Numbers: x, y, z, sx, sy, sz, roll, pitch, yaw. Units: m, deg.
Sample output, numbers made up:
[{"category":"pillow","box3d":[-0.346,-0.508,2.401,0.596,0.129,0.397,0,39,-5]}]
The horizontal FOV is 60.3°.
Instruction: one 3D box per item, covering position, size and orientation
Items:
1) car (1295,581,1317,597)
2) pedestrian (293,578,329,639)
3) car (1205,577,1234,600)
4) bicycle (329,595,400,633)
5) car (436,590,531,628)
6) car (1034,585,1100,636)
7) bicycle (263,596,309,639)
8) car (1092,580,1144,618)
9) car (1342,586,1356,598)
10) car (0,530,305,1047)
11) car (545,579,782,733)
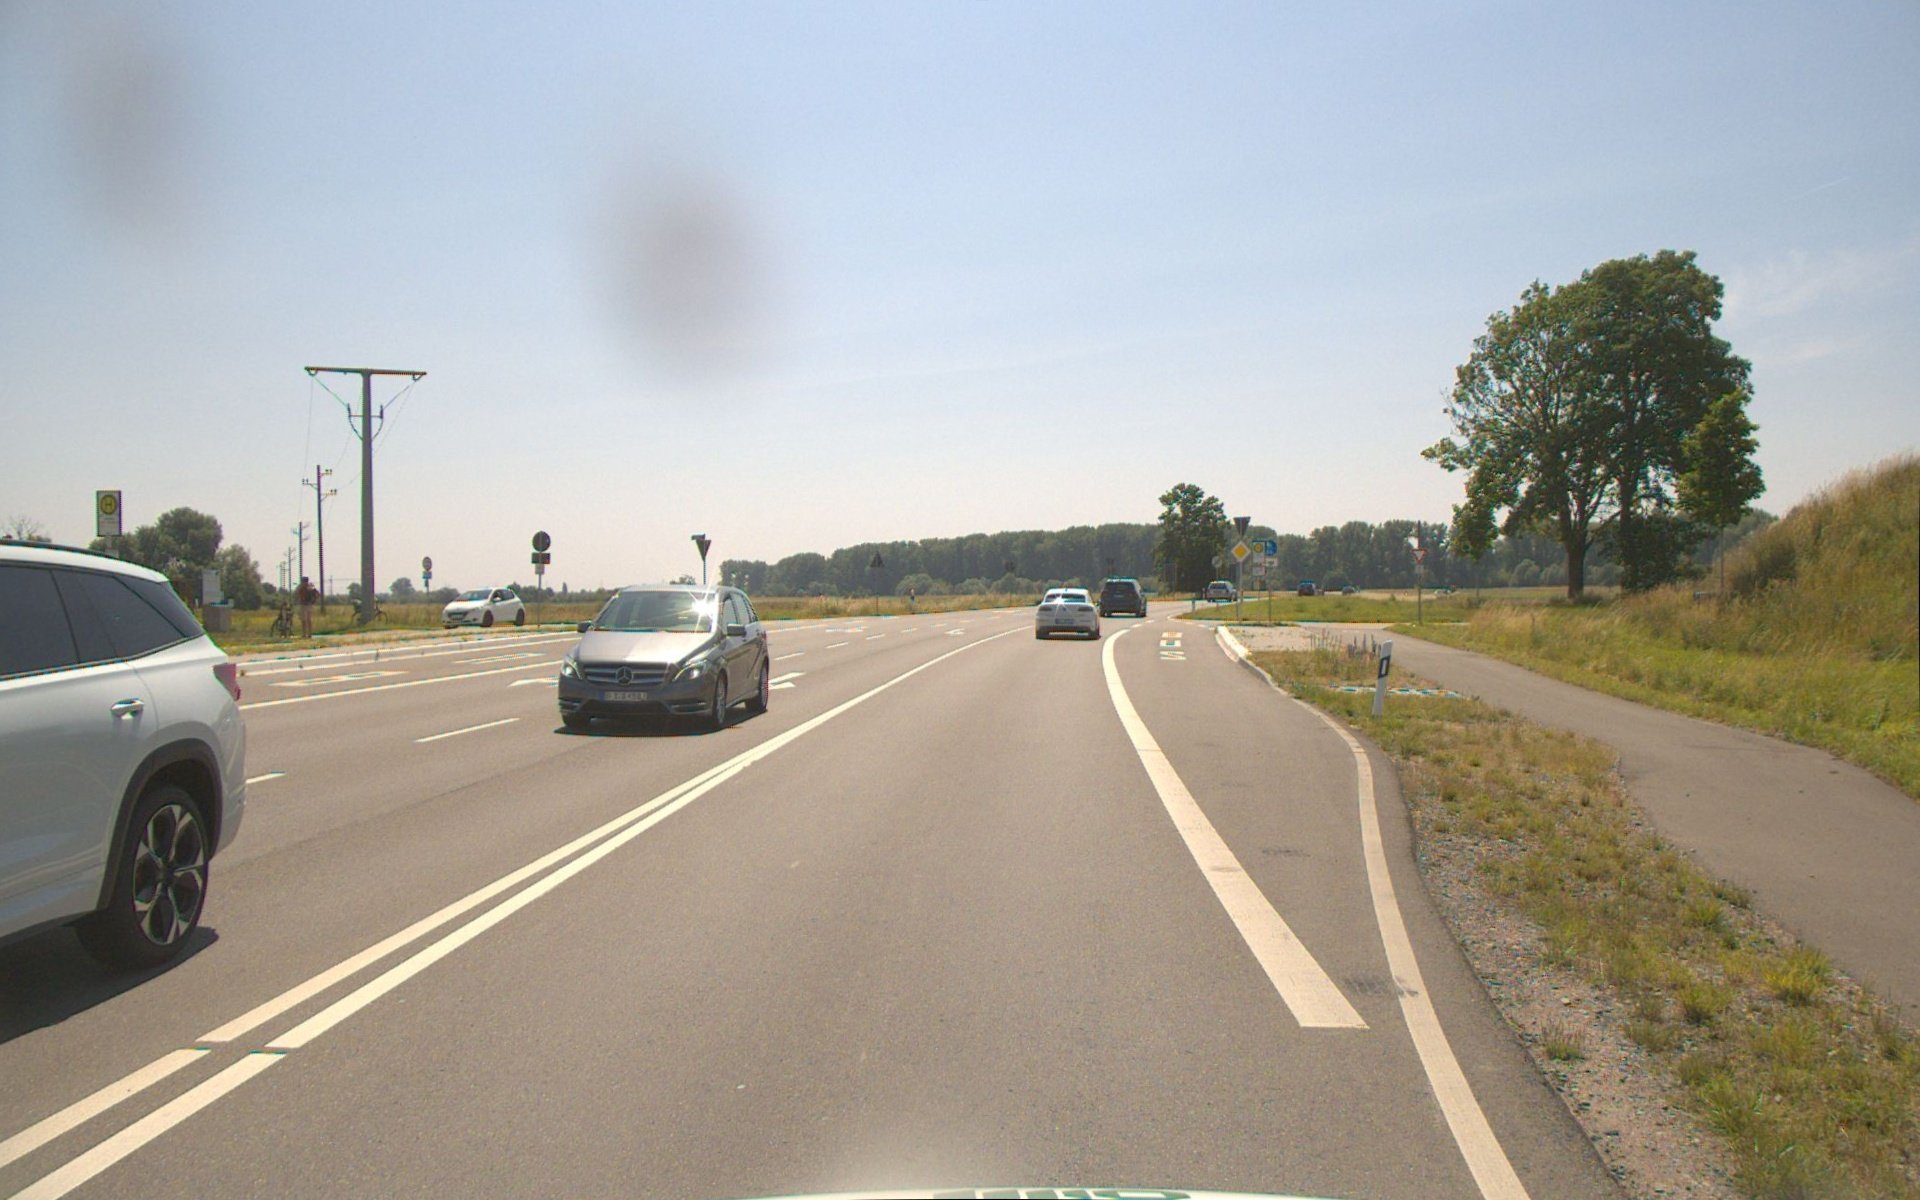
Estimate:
[{"category":"car","box3d":[35.827,-1.110,171.224,1.762,1.502,4.416,-2,-1,18]},{"category":"pedestrian","box3d":[-19.530,0.250,49.781,0.595,1.817,0.847,0,-1,13]},{"category":"car","box3d":[18.292,-0.806,116.412,1.761,1.454,4.096,-2,-1,12]},{"category":"bicycle","box3d":[-24.255,0.577,67.432,2.560,1.396,0.900,-2,-2,-8]},{"category":"car","box3d":[-17.788,0.346,61.871,1.655,1.355,4.040,1,0,13]},{"category":"car","box3d":[3.229,0.331,49.305,1.809,1.459,4.611,0,-1,5]},{"category":"bicycle","box3d":[-20.159,0.518,49.496,0.480,1.270,1.512,0,-1,12]},{"category":"car","box3d":[7.223,-0.071,75.211,1.893,1.644,4.382,-1,0,11]},{"category":"car","box3d":[50.492,-1.050,214.634,1.761,1.548,3.886,0,1,14]},{"category":"car","box3d":[-4.039,0.603,5.246,1.839,1.679,4.844,1,0,2]},{"category":"car","box3d":[-3.330,0.569,19.431,1.695,1.583,4.382,1,0,4]}]
